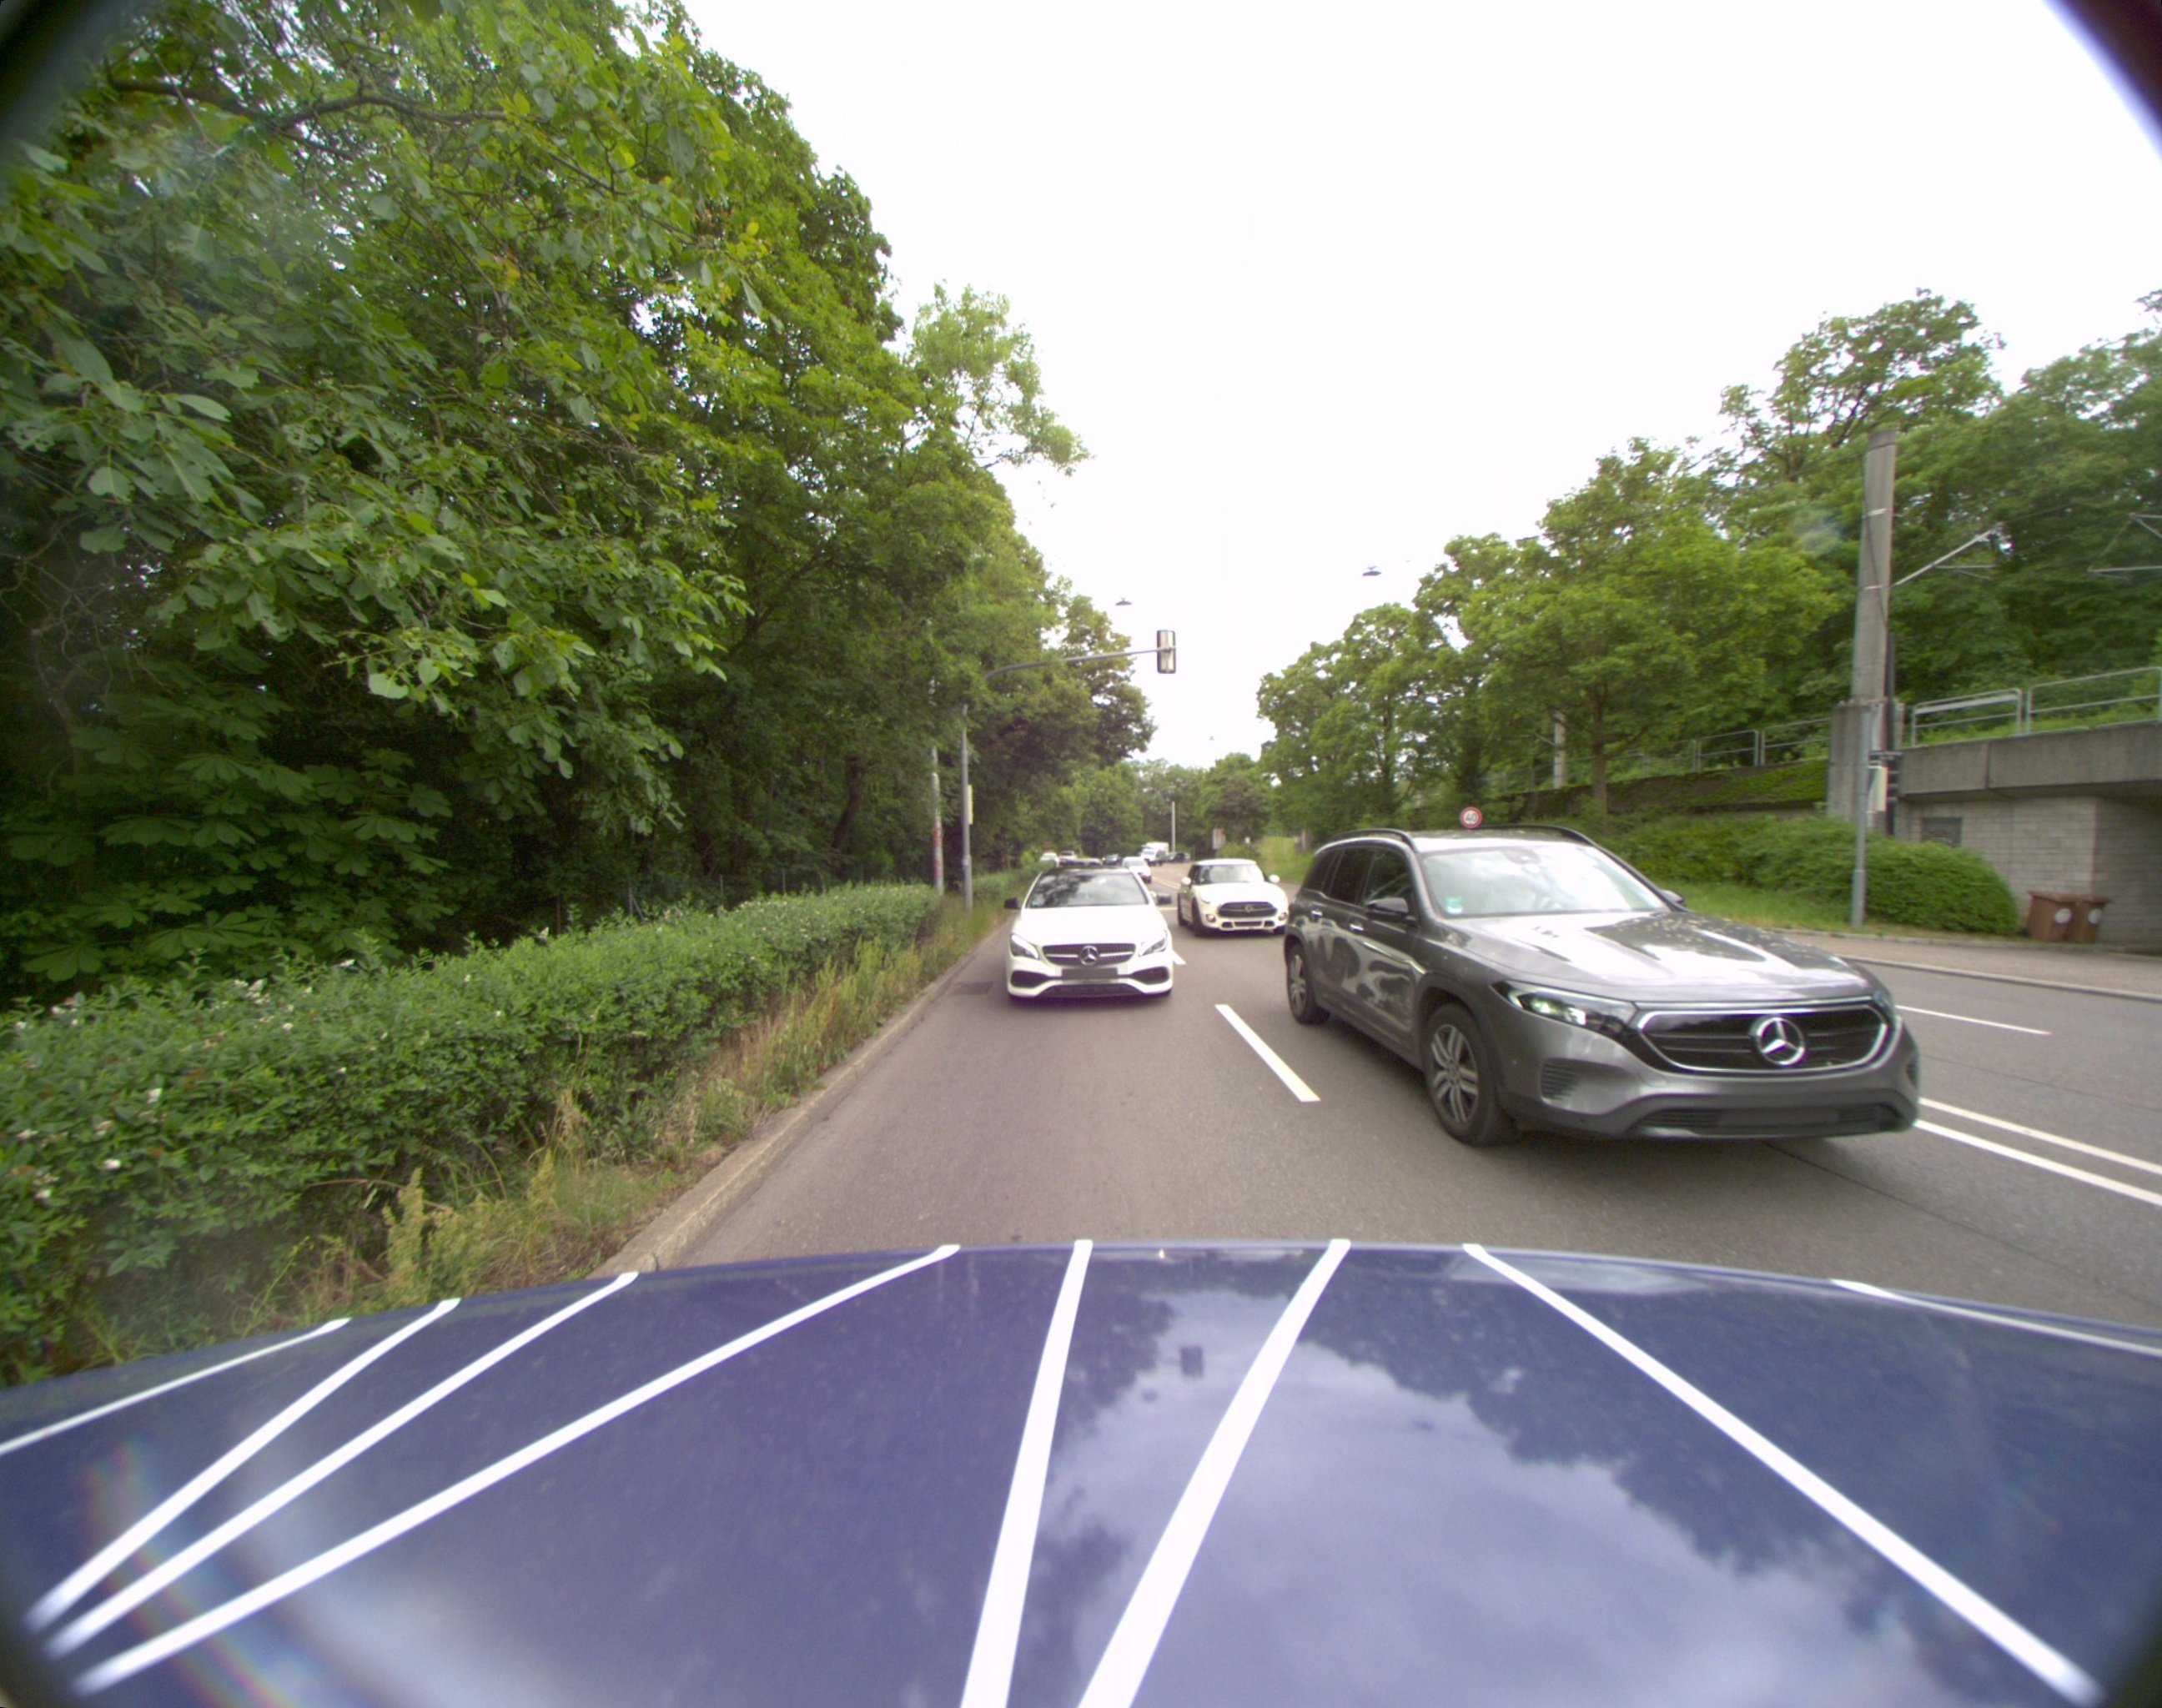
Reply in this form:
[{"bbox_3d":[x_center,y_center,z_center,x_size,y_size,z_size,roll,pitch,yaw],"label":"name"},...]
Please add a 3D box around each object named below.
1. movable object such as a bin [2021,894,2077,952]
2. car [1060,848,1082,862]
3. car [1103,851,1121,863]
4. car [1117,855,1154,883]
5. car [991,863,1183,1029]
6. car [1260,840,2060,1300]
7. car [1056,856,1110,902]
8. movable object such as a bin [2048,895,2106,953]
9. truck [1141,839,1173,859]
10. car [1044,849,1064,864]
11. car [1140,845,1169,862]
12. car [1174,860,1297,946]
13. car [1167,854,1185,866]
[{"bbox_3d":[18.337,1.302,14.401,0.419,1.057,0.503,0,1,-4],"label":"movable object such as a bin"},{"bbox_3d":[-1.135,0.130,88.256,1.754,1.575,4.014,1,0,10],"label":"car"},{"bbox_3d":[3.955,0.403,96.180,1.763,1.433,3.895,1,0,9],"label":"car"},{"bbox_3d":[2.969,0.787,42.042,1.664,1.382,4.182,-1,0,-1],"label":"car"},{"bbox_3d":[0.084,0.917,9.368,1.801,1.470,4.010,-2,0,1],"label":"car"},{"bbox_3d":[2.648,0.783,4.960,1.854,1.641,4.357,-1,0,-1],"label":"car"},{"bbox_3d":[0.157,0.864,27.809,1.755,1.417,4.010,3,1,2],"label":"car"},{"bbox_3d":[18.975,1.328,14.484,0.419,1.057,0.503,0,1,-4],"label":"movable object such as a bin"},{"bbox_3d":[12.209,-0.762,121.278,2.195,3.137,6.665,2,0,33],"label":"truck"},{"bbox_3d":[-2.592,0.236,73.430,1.765,1.433,3.892,1,0,0],"label":"car"},{"bbox_3d":[9.865,-0.125,101.903,2.282,2.187,6.467,-1,0,20],"label":"car"},{"bbox_3d":[2.907,0.871,15.056,1.688,1.415,3.733,-1,0,0],"label":"car"},{"bbox_3d":[15.024,0.959,119.731,1.775,1.789,4.007,0,0,23],"label":"car"}]
